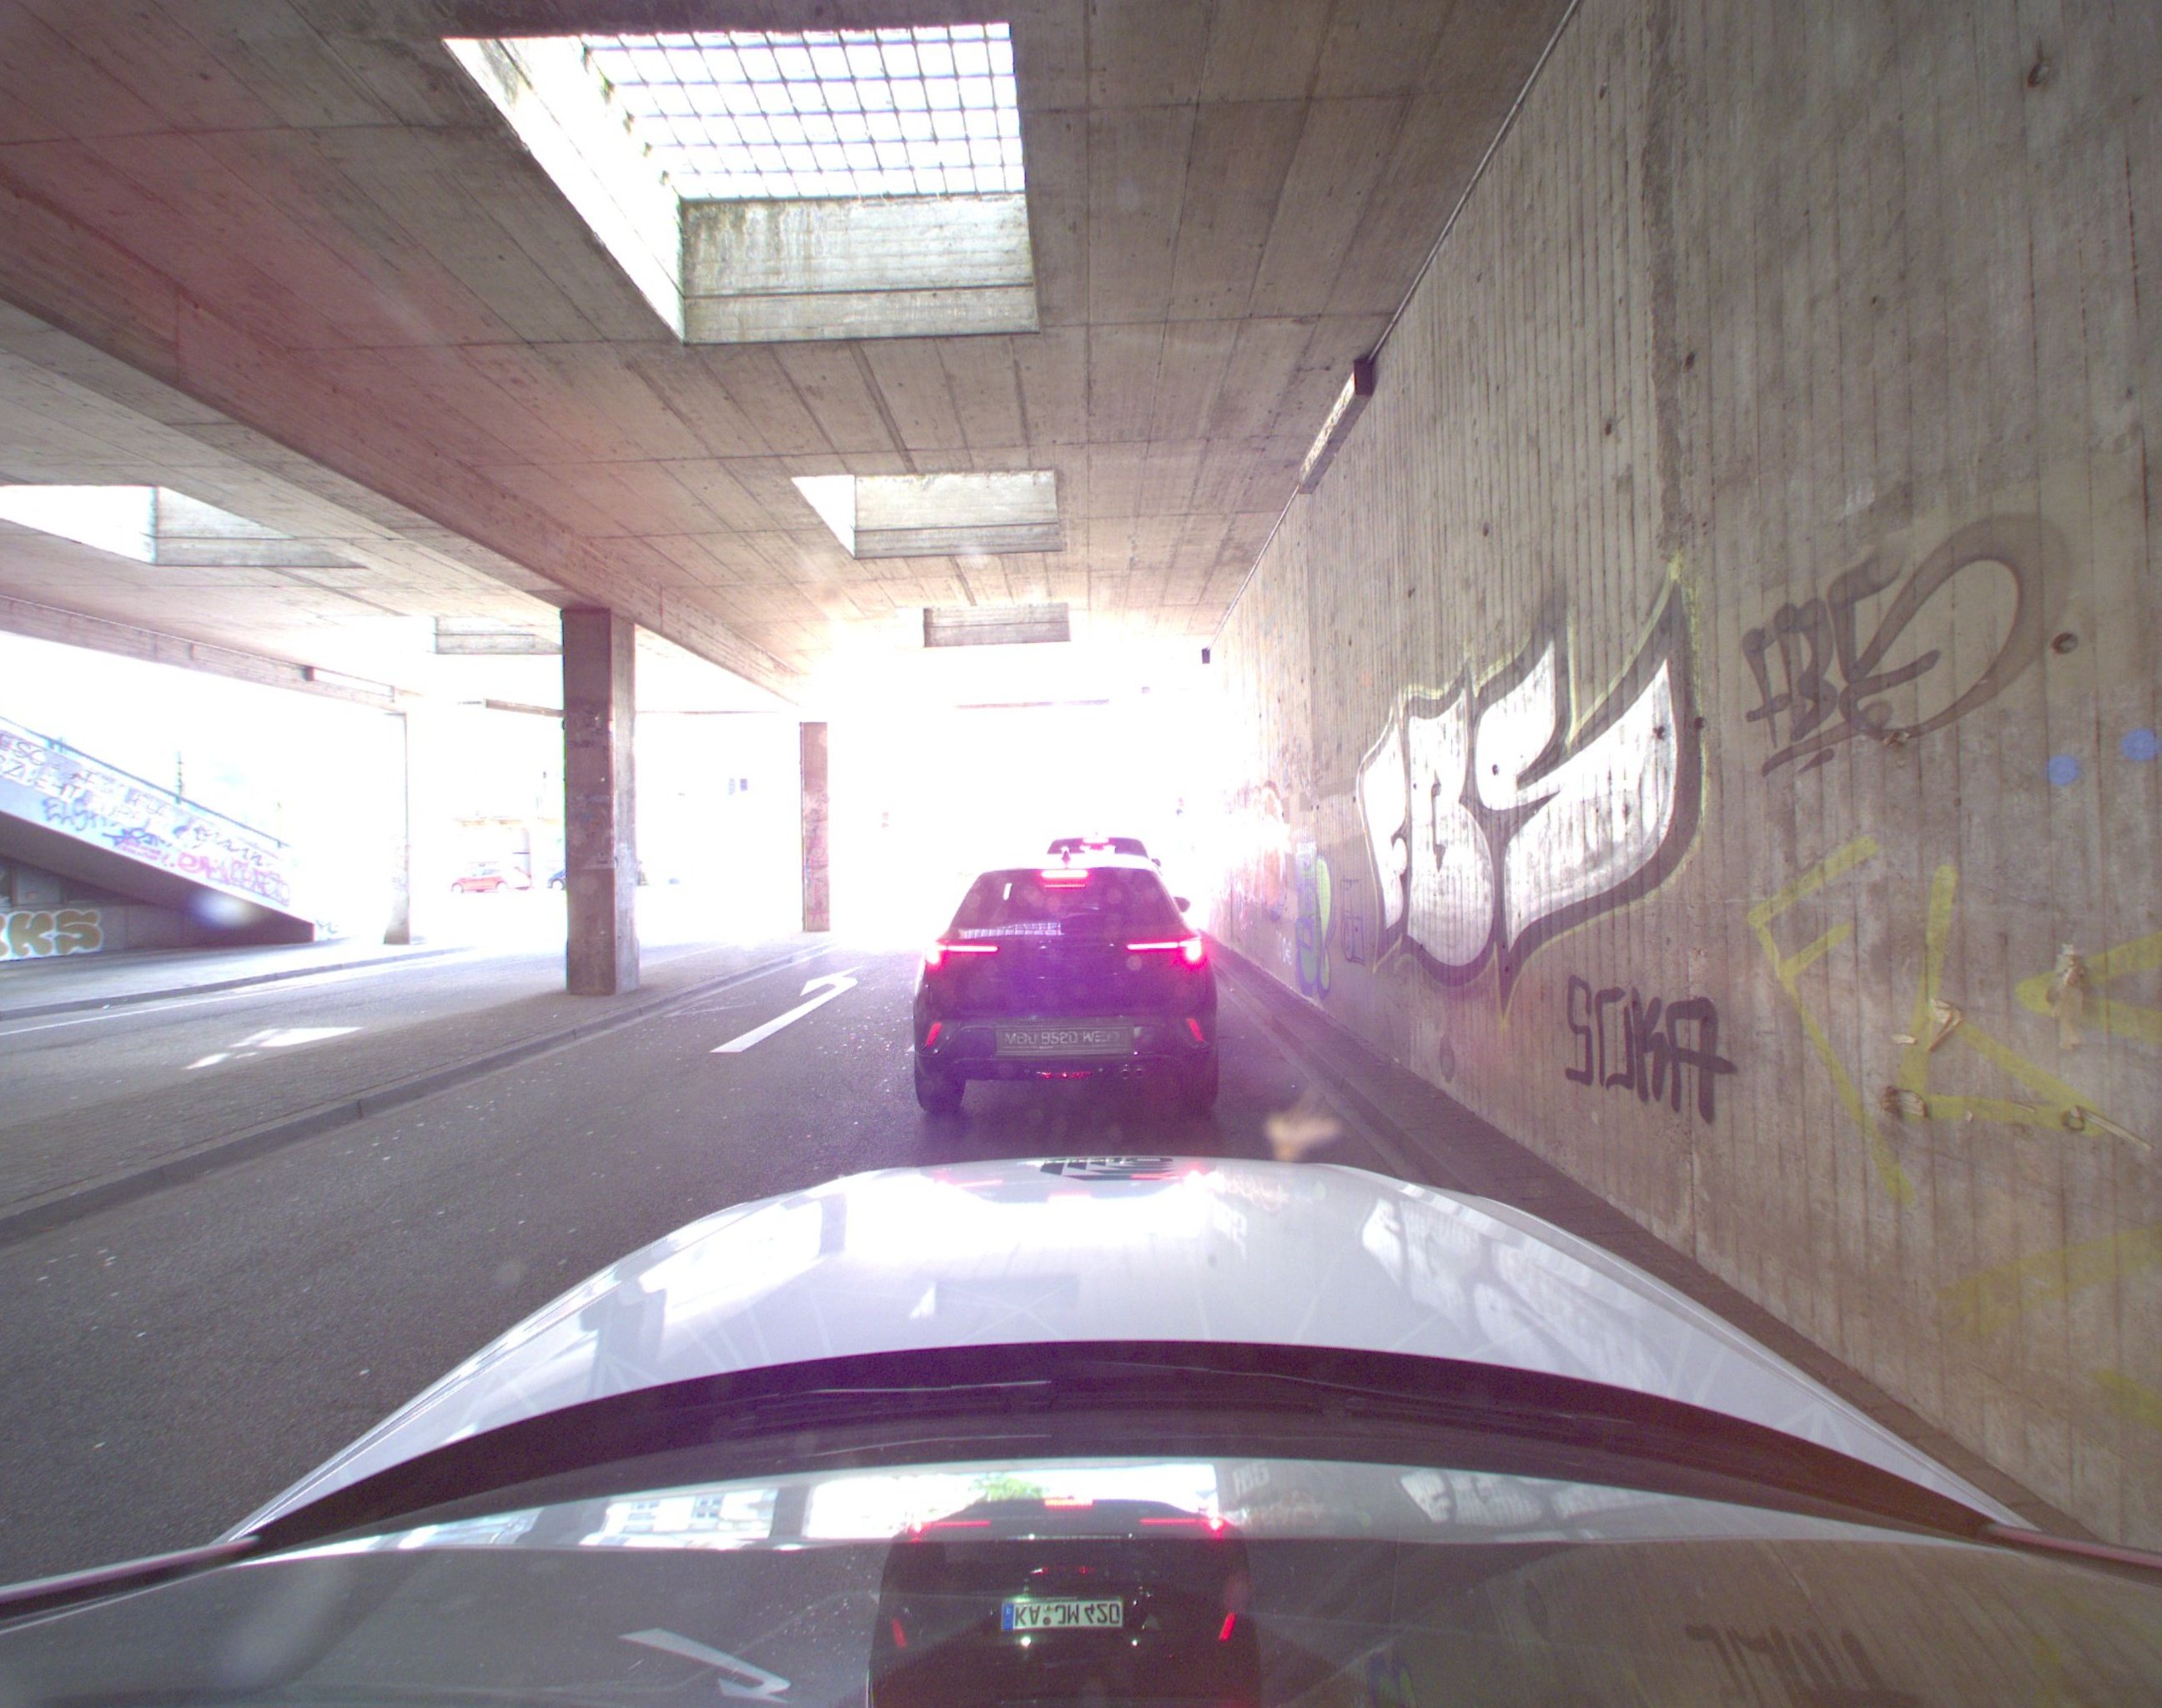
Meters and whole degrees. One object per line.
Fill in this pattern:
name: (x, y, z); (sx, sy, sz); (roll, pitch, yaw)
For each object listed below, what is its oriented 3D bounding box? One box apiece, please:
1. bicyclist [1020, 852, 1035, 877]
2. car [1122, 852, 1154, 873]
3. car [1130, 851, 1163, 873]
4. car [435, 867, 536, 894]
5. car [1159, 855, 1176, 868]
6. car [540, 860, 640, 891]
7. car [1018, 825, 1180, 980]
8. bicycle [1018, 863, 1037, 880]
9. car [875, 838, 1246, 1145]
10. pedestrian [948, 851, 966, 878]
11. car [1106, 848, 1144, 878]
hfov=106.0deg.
bicyclist: (-3.381, 0.646, 51.781); (0.724, 1.581, 0.817); (-1, -1, 11)
car: (4.402, 0.645, 62.255); (1.955, 1.497, 3.908); (-2, -2, 11)
car: (5.583, 0.691, 69.041); (2.206, 1.719, 4.474); (-2, -2, 12)
car: (-33.014, 1.457, 45.239); (3.970, 1.374, 2.192); (-1, 0, 3)
car: (11.920, 1.027, 111.809); (1.981, 1.662, 4.012); (-1, -1, 11)
car: (-27.210, 1.169, 45.240); (4.114, 1.550, 2.268); (-1, 0, 1)
car: (0.286, 0.594, 12.011); (1.938, 1.860, 3.966); (-2, 0, 2)
bicycle: (-3.391, 1.104, 51.746); (0.727, 1.067, 1.694); (-1, -1, 11)
car: (-0.045, 0.710, 6.191); (1.875, 1.538, 3.966); (-2, 0, 2)
pedestrian: (-9.595, 0.815, 63.055); (0.986, 2.013, 1.091); (-2, 0, 10)
car: (2.406, 0.503, 44.270); (1.959, 1.497, 3.900); (-2, -2, 4)
